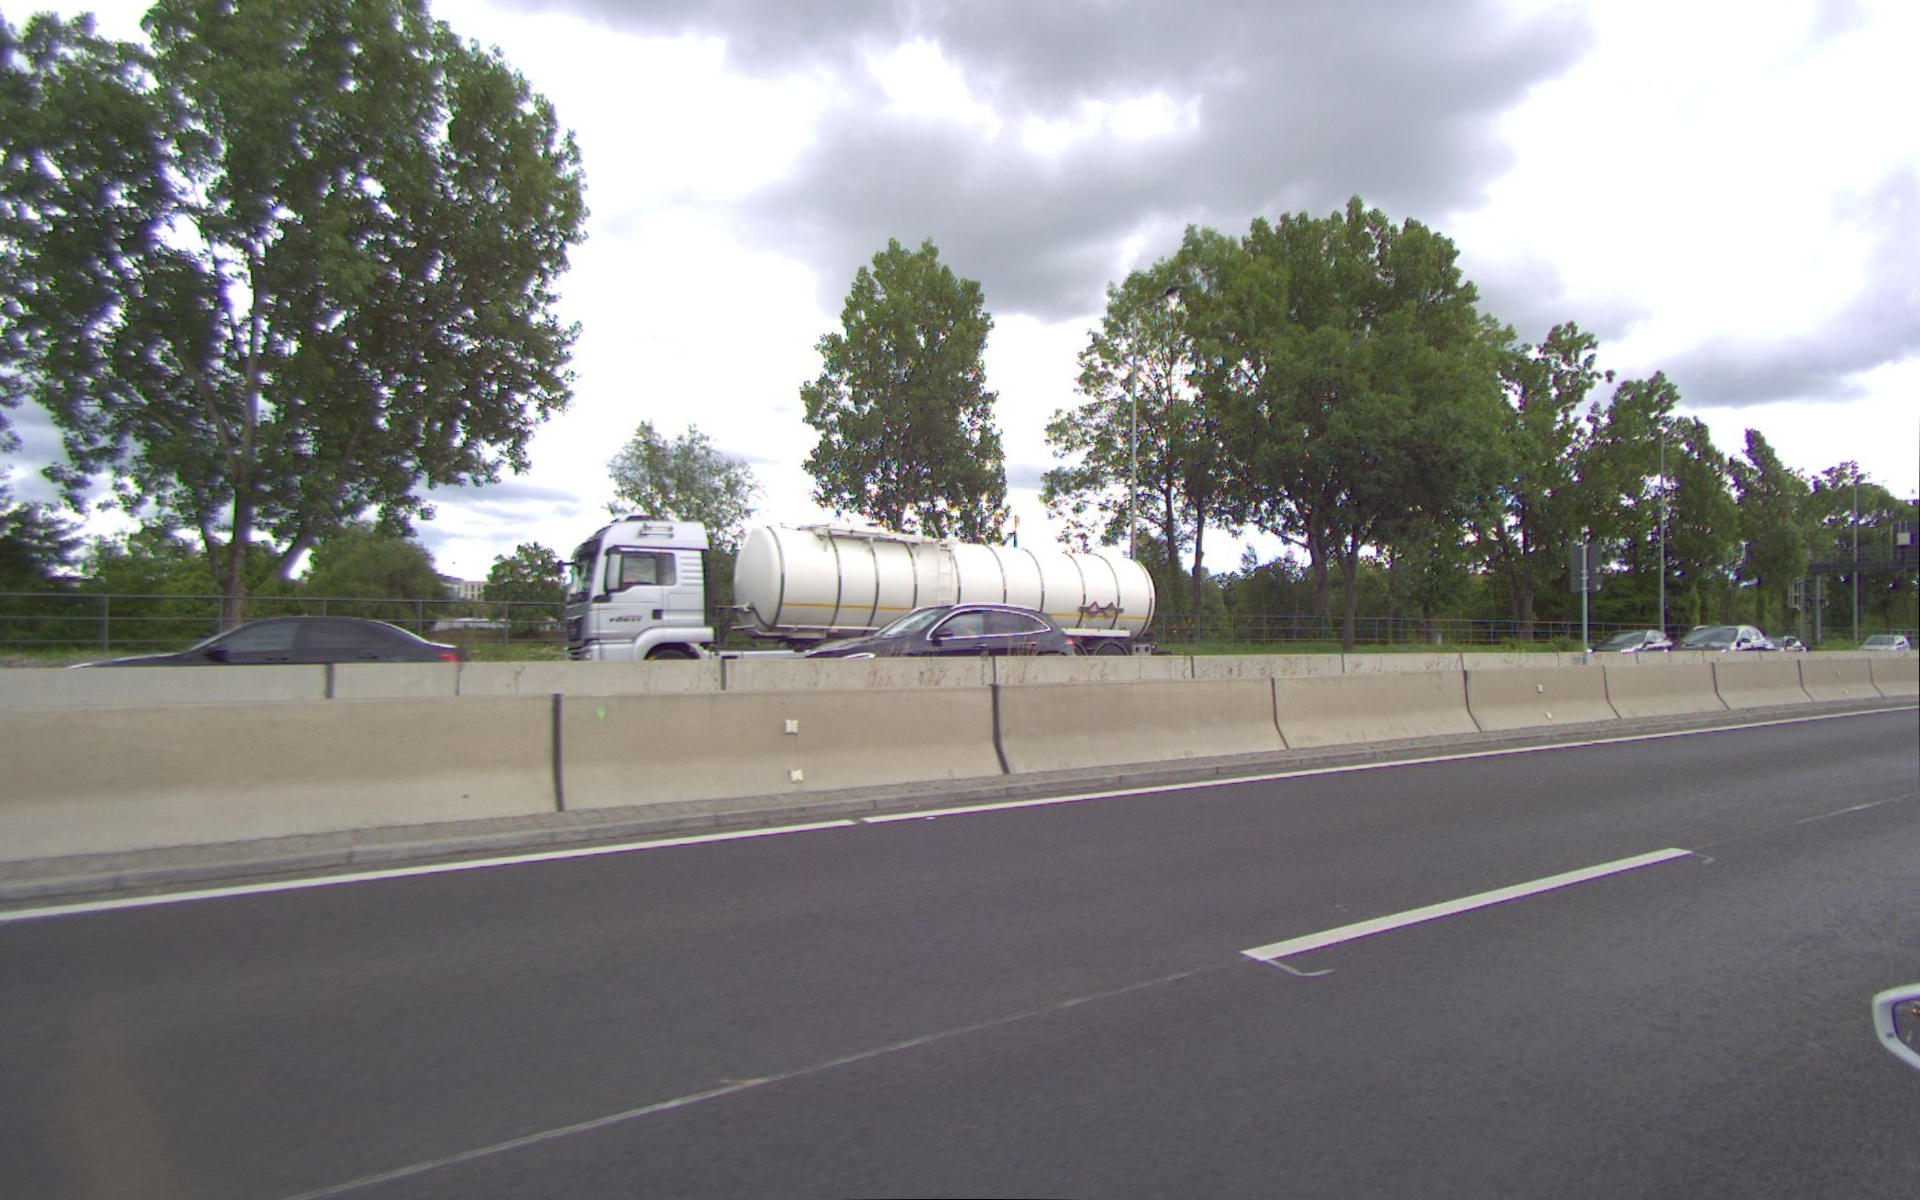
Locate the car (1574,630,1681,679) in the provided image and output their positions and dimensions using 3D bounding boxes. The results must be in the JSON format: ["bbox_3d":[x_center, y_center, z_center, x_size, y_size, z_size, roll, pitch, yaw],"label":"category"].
[{"bbox_3d":[27.015,2.157,40.628,4.255,1.762,1.983,1,1,-32],"label":"car"}]

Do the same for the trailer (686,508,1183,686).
[{"bbox_3d":[-0.094,0.001,22.995,11.549,3.263,3.080,1,1,-35],"label":"trailer"}]

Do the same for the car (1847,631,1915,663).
[{"bbox_3d":[53.252,2.701,58.057,4.077,1.705,1.867,1,1,-32],"label":"car"}]

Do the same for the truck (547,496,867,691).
[{"bbox_3d":[-4.918,-0.101,19.647,5.336,3.262,3.078,1,1,-34],"label":"truck"}]

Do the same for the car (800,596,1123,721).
[{"bbox_3d":[0.081,0.827,15.539,4.644,1.639,1.983,1,1,-32],"label":"car"}]

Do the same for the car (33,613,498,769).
[{"bbox_3d":[-8.679,1.050,13.070,4.644,1.639,1.983,1,1,-32],"label":"car"}]

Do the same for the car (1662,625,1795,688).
[{"bbox_3d":[23.913,1.698,31.228,3.955,1.762,1.983,1,1,-32],"label":"car"}]
